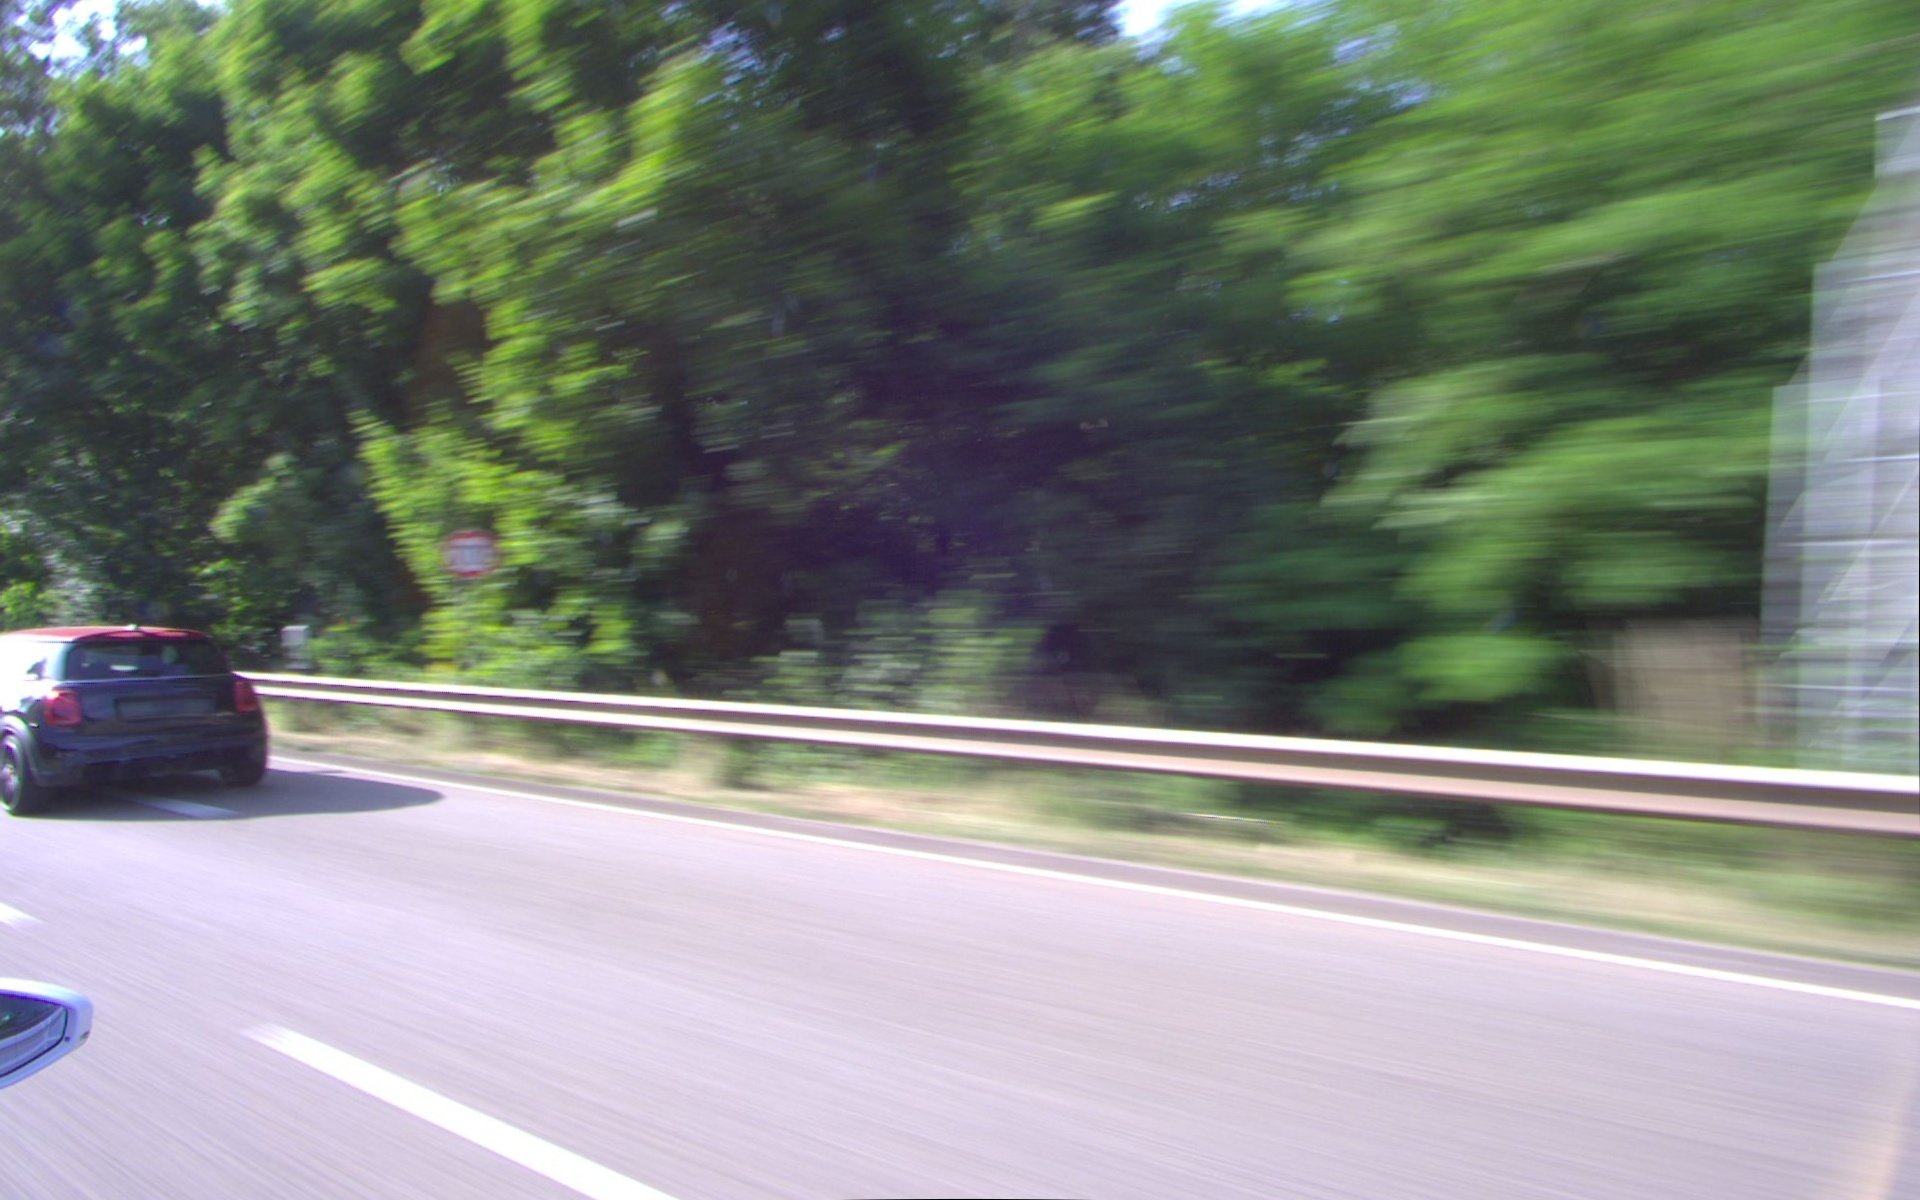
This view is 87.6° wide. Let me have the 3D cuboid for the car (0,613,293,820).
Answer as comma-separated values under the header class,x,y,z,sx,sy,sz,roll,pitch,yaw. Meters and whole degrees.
class,x,y,z,sx,sy,sz,roll,pitch,yaw
car,-8.008,0.880,9.128,3.817,1.487,1.816,0,0,32
